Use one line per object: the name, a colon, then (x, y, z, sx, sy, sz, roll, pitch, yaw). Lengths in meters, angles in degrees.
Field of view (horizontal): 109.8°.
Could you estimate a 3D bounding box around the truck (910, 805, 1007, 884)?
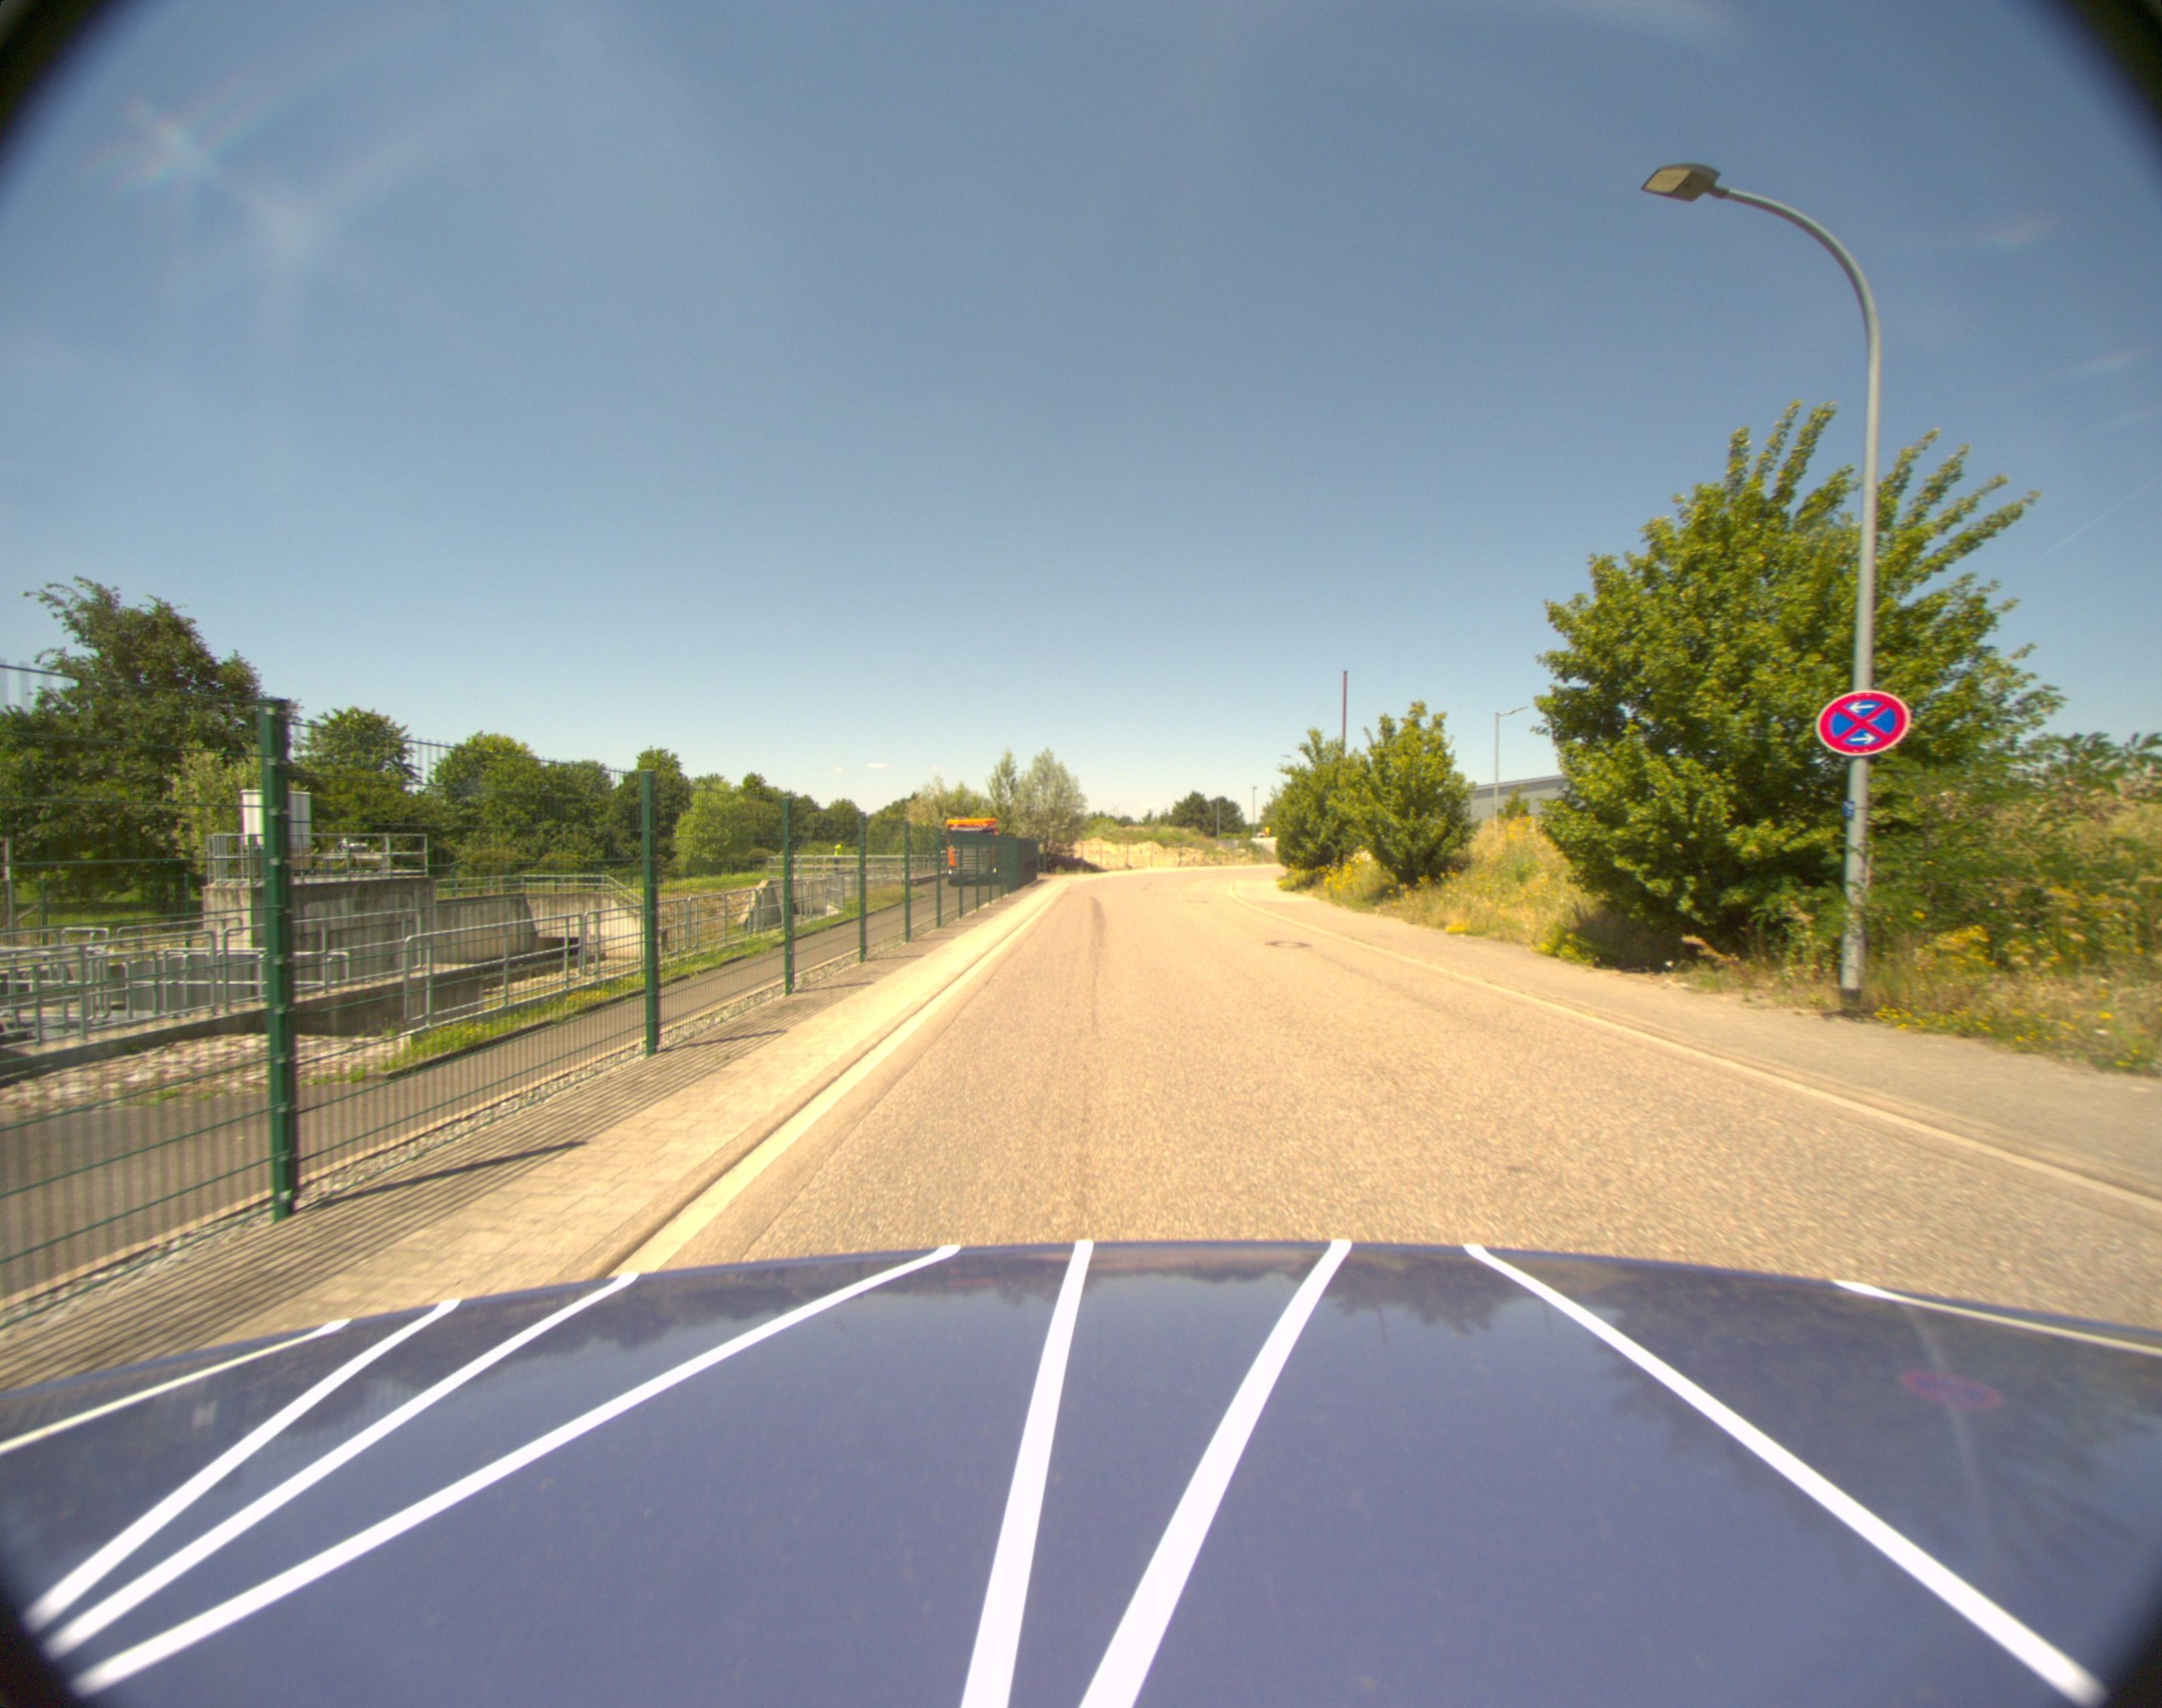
truck: (-6.336, -0.582, 40.967, 4.162, 3.785, 8.607, 0, 2, -2)
